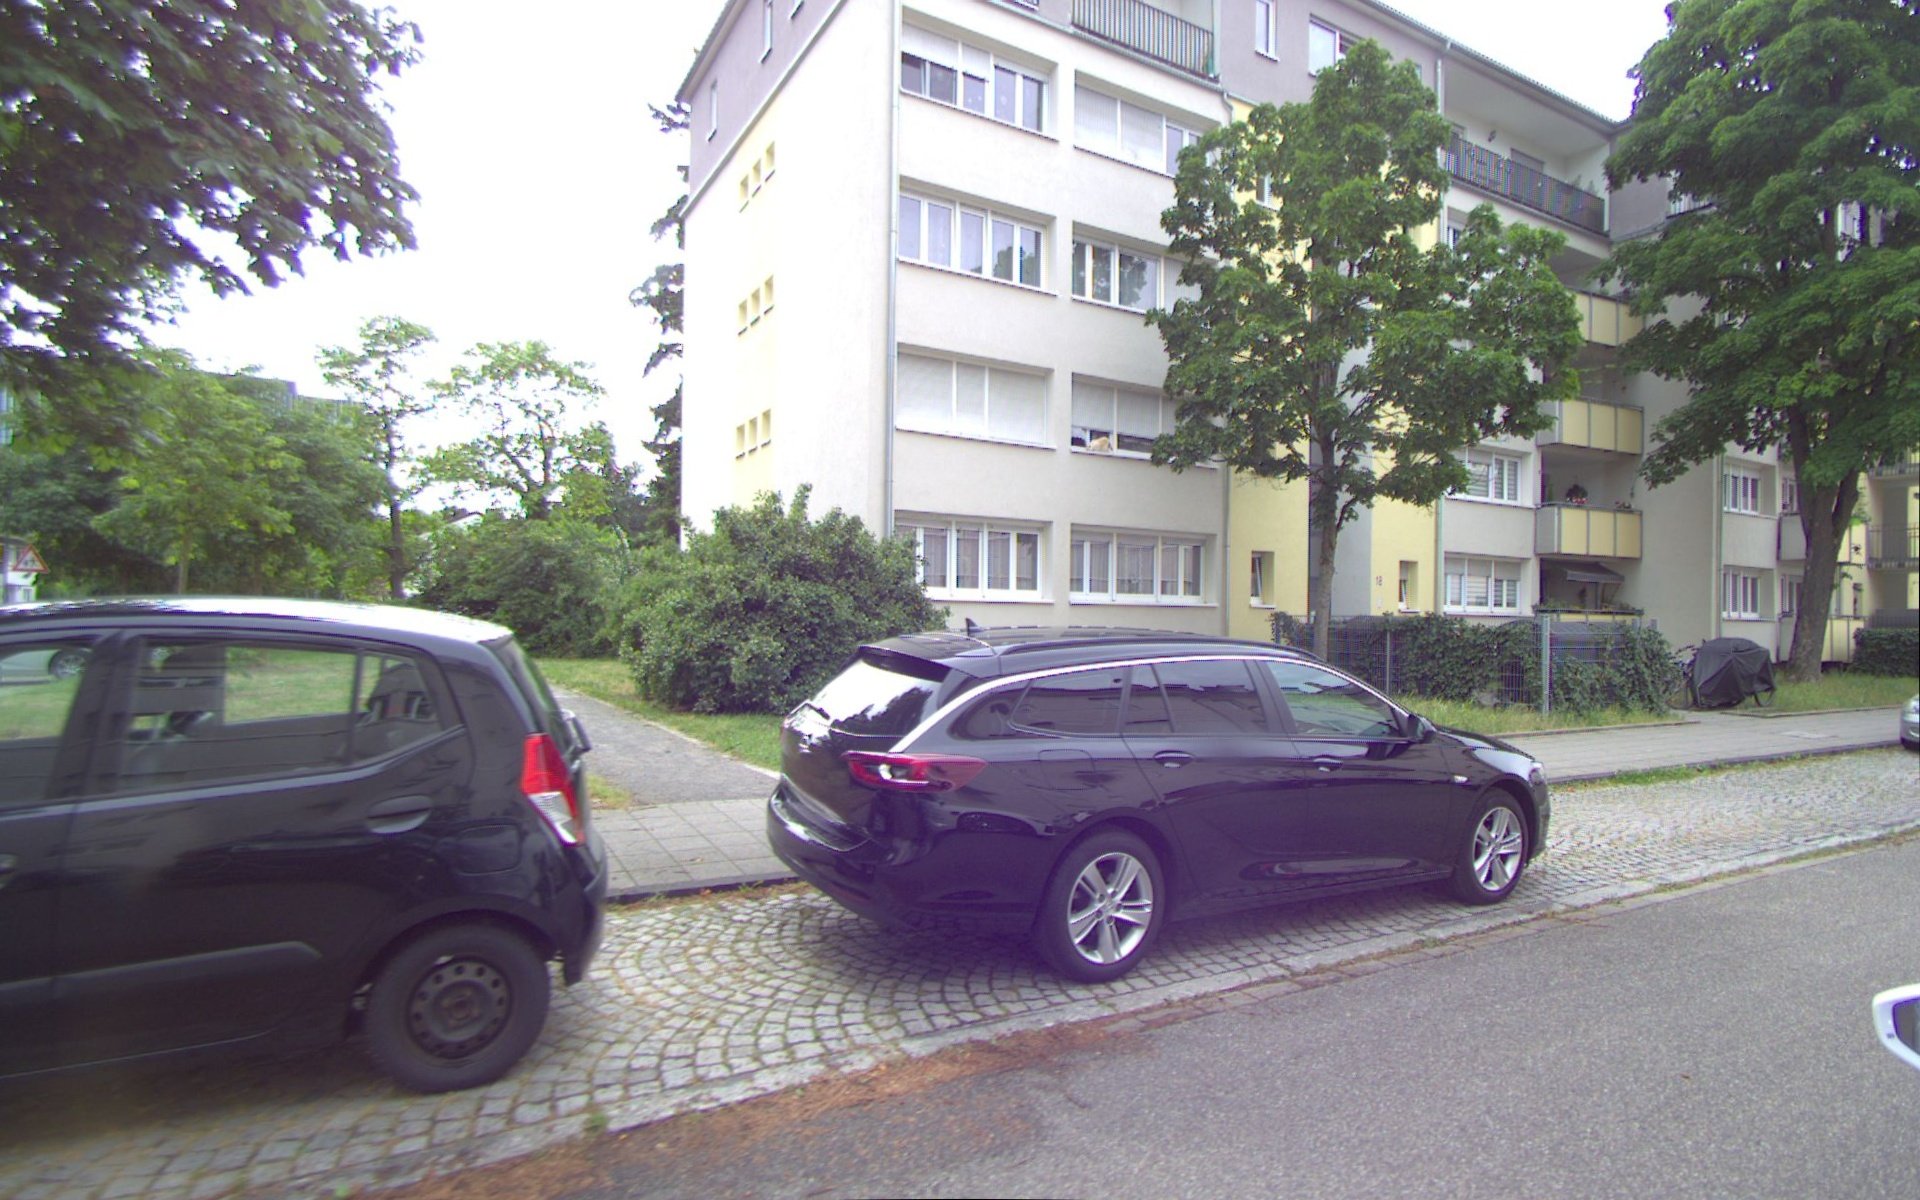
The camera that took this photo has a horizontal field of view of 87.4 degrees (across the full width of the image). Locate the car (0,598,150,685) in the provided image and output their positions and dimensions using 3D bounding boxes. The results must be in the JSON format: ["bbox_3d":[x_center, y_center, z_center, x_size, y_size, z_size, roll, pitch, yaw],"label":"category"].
[{"bbox_3d":[-19.046,0.825,20.093,4.099,1.582,1.869,-2,2,-30],"label":"car"}]

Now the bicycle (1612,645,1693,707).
[{"bbox_3d":[13.207,1.434,19.144,1.753,1.115,0.549,2,-1,-30],"label":"bicycle"}]

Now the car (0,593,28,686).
[{"bbox_3d":[-17.496,0.627,15.283,4.500,1.483,1.829,0,0,-27],"label":"car"}]

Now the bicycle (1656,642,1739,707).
[{"bbox_3d":[13.504,1.349,18.371,1.753,1.115,0.549,2,-1,-30],"label":"bicycle"}]

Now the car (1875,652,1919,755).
[{"bbox_3d":[14.197,1.398,13.494,3.968,1.275,1.688,1,1,-30],"label":"car"}]

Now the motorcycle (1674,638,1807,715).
[{"bbox_3d":[13.711,1.309,17.607,3.028,1.240,0.678,1,0,-29],"label":"motorcycle"}]

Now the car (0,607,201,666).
[{"bbox_3d":[-22.972,0.920,26.592,4.514,1.474,1.664,0,0,-35],"label":"car"}]

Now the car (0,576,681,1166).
[{"bbox_3d":[-2.881,0.706,3.285,3.546,1.513,1.518,1,2,-28],"label":"car"}]

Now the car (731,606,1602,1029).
[{"bbox_3d":[1.324,0.862,5.698,4.776,1.484,1.859,1,2,-30],"label":"car"}]

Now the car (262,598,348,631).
[{"bbox_3d":[-41.162,0.912,63.171,4.448,1.884,1.981,1,2,-34],"label":"car"}]
